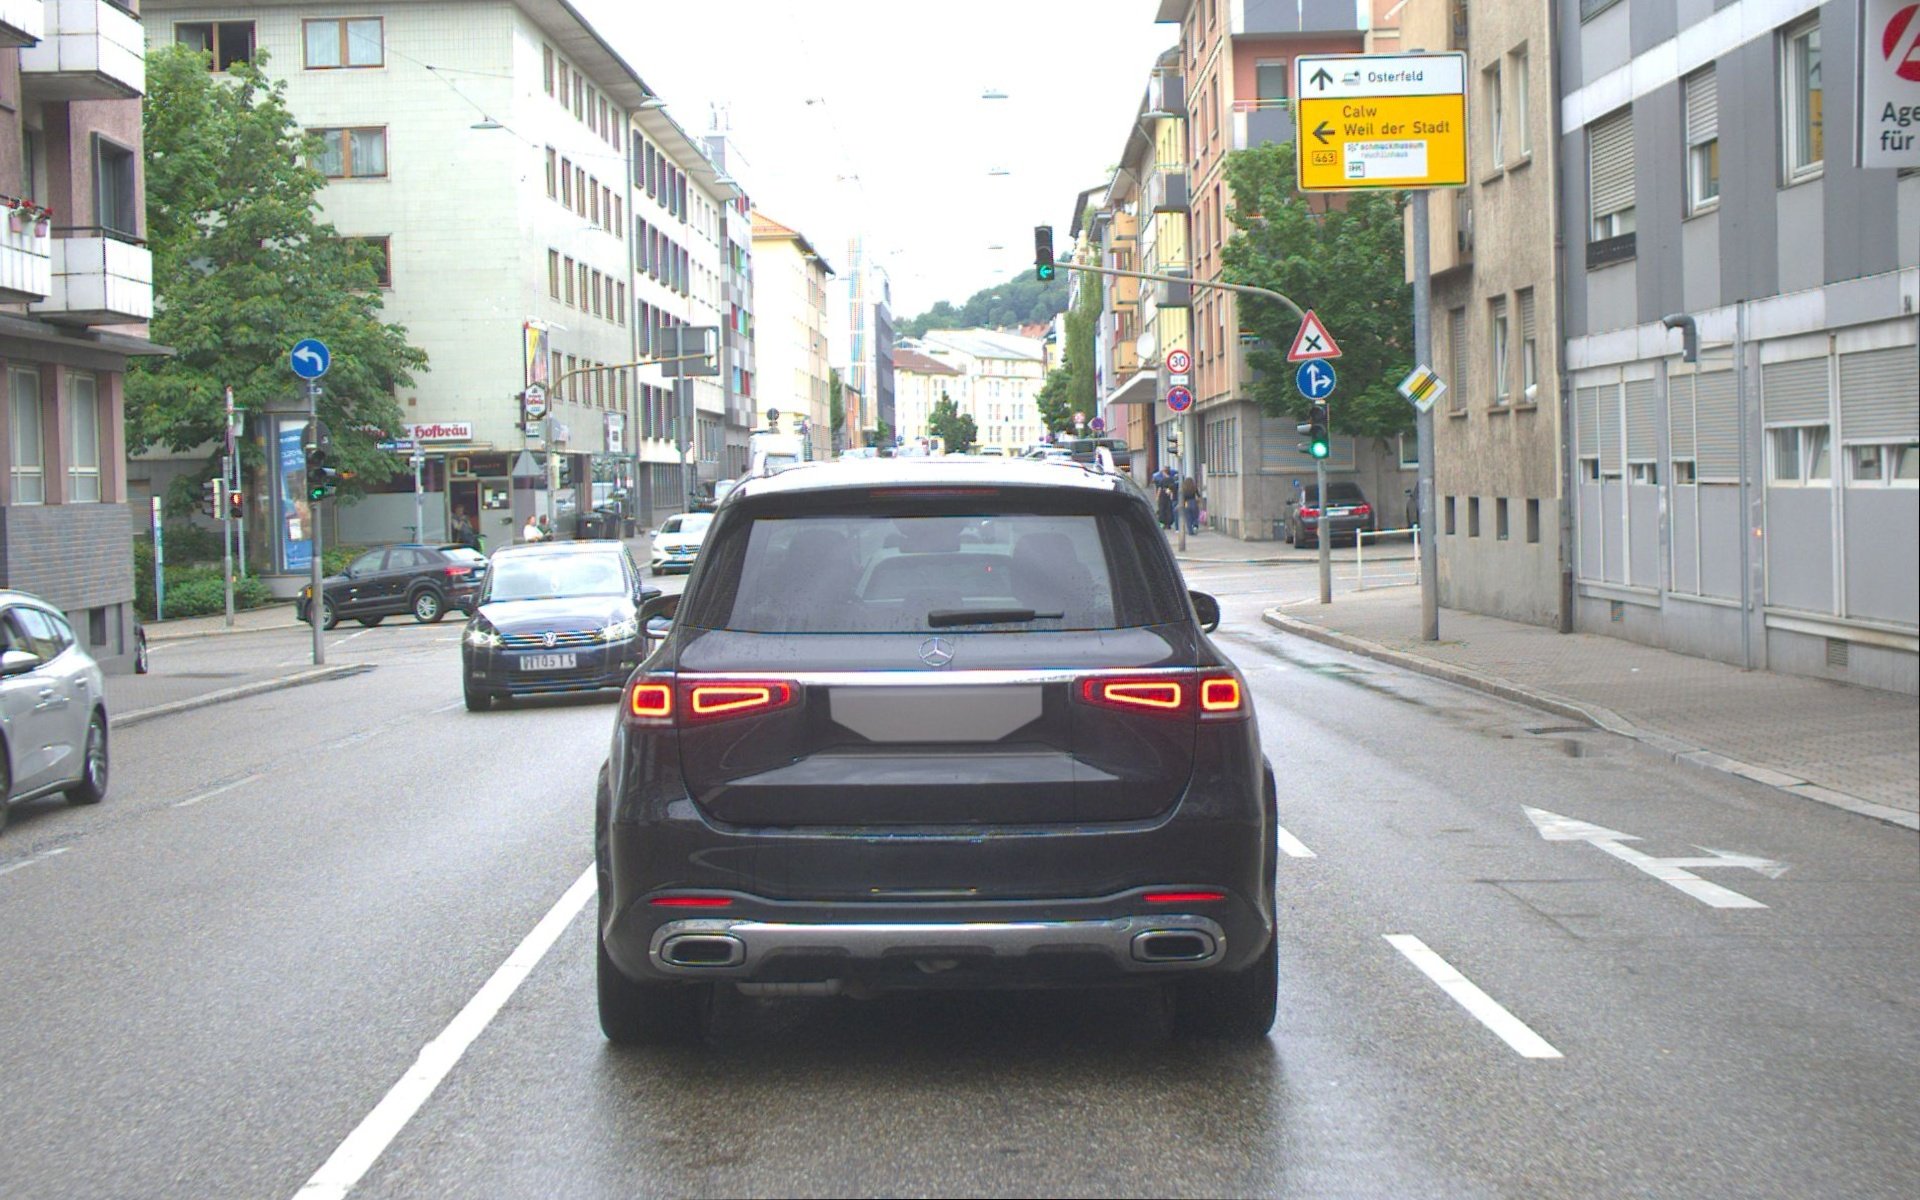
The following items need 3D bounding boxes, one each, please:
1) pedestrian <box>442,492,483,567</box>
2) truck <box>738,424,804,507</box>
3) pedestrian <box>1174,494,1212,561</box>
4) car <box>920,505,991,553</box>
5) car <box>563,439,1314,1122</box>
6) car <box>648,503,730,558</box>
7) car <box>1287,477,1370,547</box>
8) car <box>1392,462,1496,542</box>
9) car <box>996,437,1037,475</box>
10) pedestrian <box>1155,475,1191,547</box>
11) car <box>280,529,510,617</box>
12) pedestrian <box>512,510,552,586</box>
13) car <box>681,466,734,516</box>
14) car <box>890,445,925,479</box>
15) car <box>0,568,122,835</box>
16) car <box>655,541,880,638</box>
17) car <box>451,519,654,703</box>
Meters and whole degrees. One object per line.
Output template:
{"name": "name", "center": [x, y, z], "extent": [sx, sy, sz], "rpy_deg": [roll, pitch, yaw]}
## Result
{"name": "pedestrian", "center": [-12.839, -1.822, 88.811], "extent": [0.923, 1.895, 0.706], "rpy_deg": [-2, 1, -2]}
{"name": "truck", "center": [-7.866, -5.570, 143.948], "extent": [2.479, 3.035, 9.921], "rpy_deg": [-3, 0, -3]}
{"name": "pedestrian", "center": [6.351, -1.976, 93.663], "extent": [0.923, 1.798, 0.706], "rpy_deg": [-2, 1, -2]}
{"name": "car", "center": [-0.168, -2.125, 102.995], "extent": [1.993, 1.347, 4.000], "rpy_deg": [-2, 1, -1]}
{"name": "car", "center": [-0.075, 0.472, 11.480], "extent": [1.985, 1.799, 4.390], "rpy_deg": [1, 0, 0]}
{"name": "car", "center": [-6.872, -1.754, 87.522], "extent": [1.885, 1.260, 4.218], "rpy_deg": [-3, 0, -3]}
{"name": "car", "center": [8.715, -2.086, 81.482], "extent": [1.671, 1.583, 3.330], "rpy_deg": [-2, 1, 2]}
{"name": "car", "center": [11.439, -2.312, 81.445], "extent": [1.823, 1.789, 3.832], "rpy_deg": [-2, 1, -1]}
{"name": "car", "center": [2.828, -7.204, 172.386], "extent": [1.723, 1.753, 4.218], "rpy_deg": [-3, 2, -3]}
{"name": "pedestrian", "center": [6.076, -2.541, 98.100], "extent": [0.923, 2.007, 0.706], "rpy_deg": [-2, 1, -2]}
{"name": "car", "center": [-11.264, -0.537, 68.445], "extent": [4.352, 1.534, 1.775], "rpy_deg": [-2, 0, 32]}
{"name": "pedestrian", "center": [-10.118, -1.231, 81.352], "extent": [0.636, 1.758, 0.772], "rpy_deg": [-1, 1, 17]}
{"name": "car", "center": [-8.681, -3.745, 118.530], "extent": [1.618, 1.534, 4.218], "rpy_deg": [-3, 0, -3]}
{"name": "car", "center": [-2.780, -7.276, 181.548], "extent": [1.618, 1.534, 4.218], "rpy_deg": [-3, 0, -3]}
{"name": "car", "center": [-6.518, 0.615, 21.264], "extent": [1.772, 1.534, 4.359], "rpy_deg": [-3, 0, -3]}
{"name": "car", "center": [-3.446, -0.166, 60.885], "extent": [1.773, 1.534, 4.357], "rpy_deg": [-3, 1, -38]}
{"name": "car", "center": [-4.082, 0.056, 35.007], "extent": [1.772, 1.640, 4.412], "rpy_deg": [-3, 2, -4]}
